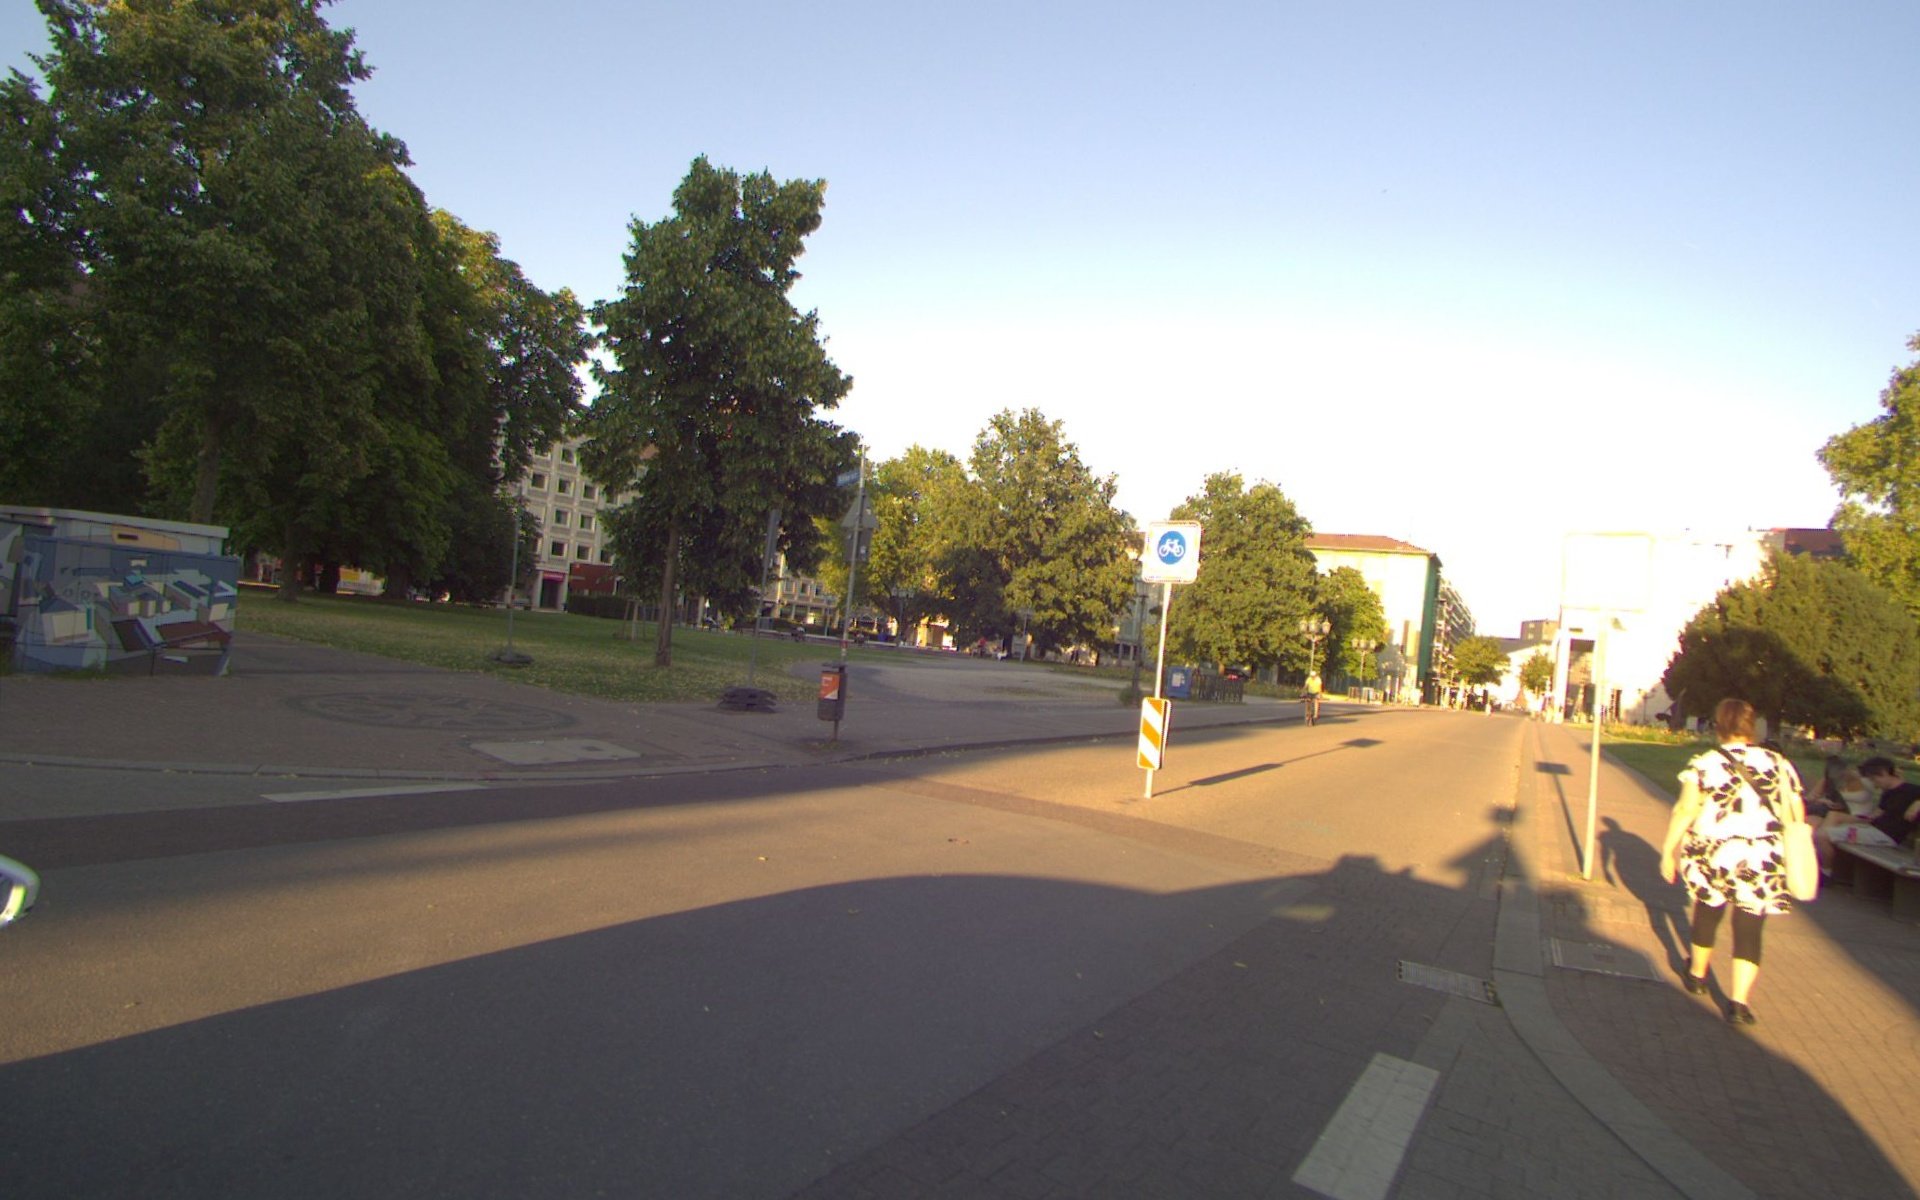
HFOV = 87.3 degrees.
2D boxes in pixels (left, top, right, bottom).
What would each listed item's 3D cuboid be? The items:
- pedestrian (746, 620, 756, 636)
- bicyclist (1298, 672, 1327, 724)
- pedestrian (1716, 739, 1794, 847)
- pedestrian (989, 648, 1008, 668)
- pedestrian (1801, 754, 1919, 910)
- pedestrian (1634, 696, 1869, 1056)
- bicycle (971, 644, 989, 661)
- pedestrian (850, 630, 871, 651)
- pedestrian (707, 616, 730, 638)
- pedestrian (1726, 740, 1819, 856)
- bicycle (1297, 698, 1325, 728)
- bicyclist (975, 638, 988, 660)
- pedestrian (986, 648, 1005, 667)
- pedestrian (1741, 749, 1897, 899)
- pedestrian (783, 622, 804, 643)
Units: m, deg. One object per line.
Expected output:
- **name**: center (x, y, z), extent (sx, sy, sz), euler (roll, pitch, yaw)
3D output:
- **pedestrian**: center (-19.585, 2.650, 94.284), extent (0.640, 1.383, 1.032), euler (6, -2, -9)
- **bicyclist**: center (11.110, 3.074, 31.716), extent (0.640, 1.546, 0.723), euler (5, -1, 28)
- **pedestrian**: center (9.998, 2.411, 12.668), extent (0.582, 1.228, 0.500), euler (5, -1, 25)
- **pedestrian**: center (3.071, 4.597, 79.598), extent (1.134, 1.386, 0.831), euler (8, -1, -22)
- **pedestrian**: center (8.143, 2.059, 9.064), extent (0.655, 1.218, 0.608), euler (5, -2, 25)
- **pedestrian**: center (4.193, 1.383, 5.408), extent (0.744, 1.645, 0.858), euler (5, -1, 29)
- **bicycle**: center (1.541, 4.103, 78.449), extent (0.558, 1.190, 1.764), euler (6, -2, -27)
- **pedestrian**: center (-6.251, 2.541, 63.445), extent (0.724, 1.214, 1.104), euler (5, -2, 29)
- **pedestrian**: center (-16.088, 1.793, 67.044), extent (1.061, 1.307, 0.834), euler (8, -2, -41)
- **pedestrian**: center (9.727, 2.351, 12.062), extent (0.655, 1.228, 0.608), euler (5, -2, 25)
- **bicycle**: center (11.104, 3.551, 31.781), extent (0.537, 0.877, 1.712), euler (5, -2, 28)
- **bicyclist**: center (1.676, 3.791, 78.275), extent (0.651, 1.651, 0.673), euler (6, -1, -27)
- **pedestrian**: center (2.868, 4.608, 80.544), extent (1.134, 1.386, 0.831), euler (8, -1, -22)
- **pedestrian**: center (8.235, 2.123, 9.682), extent (0.953, 1.218, 0.528), euler (5, -2, 26)
- **pedestrian**: center (-10.578, 2.087, 63.884), extent (0.653, 1.214, 1.104), euler (5, -2, 29)
